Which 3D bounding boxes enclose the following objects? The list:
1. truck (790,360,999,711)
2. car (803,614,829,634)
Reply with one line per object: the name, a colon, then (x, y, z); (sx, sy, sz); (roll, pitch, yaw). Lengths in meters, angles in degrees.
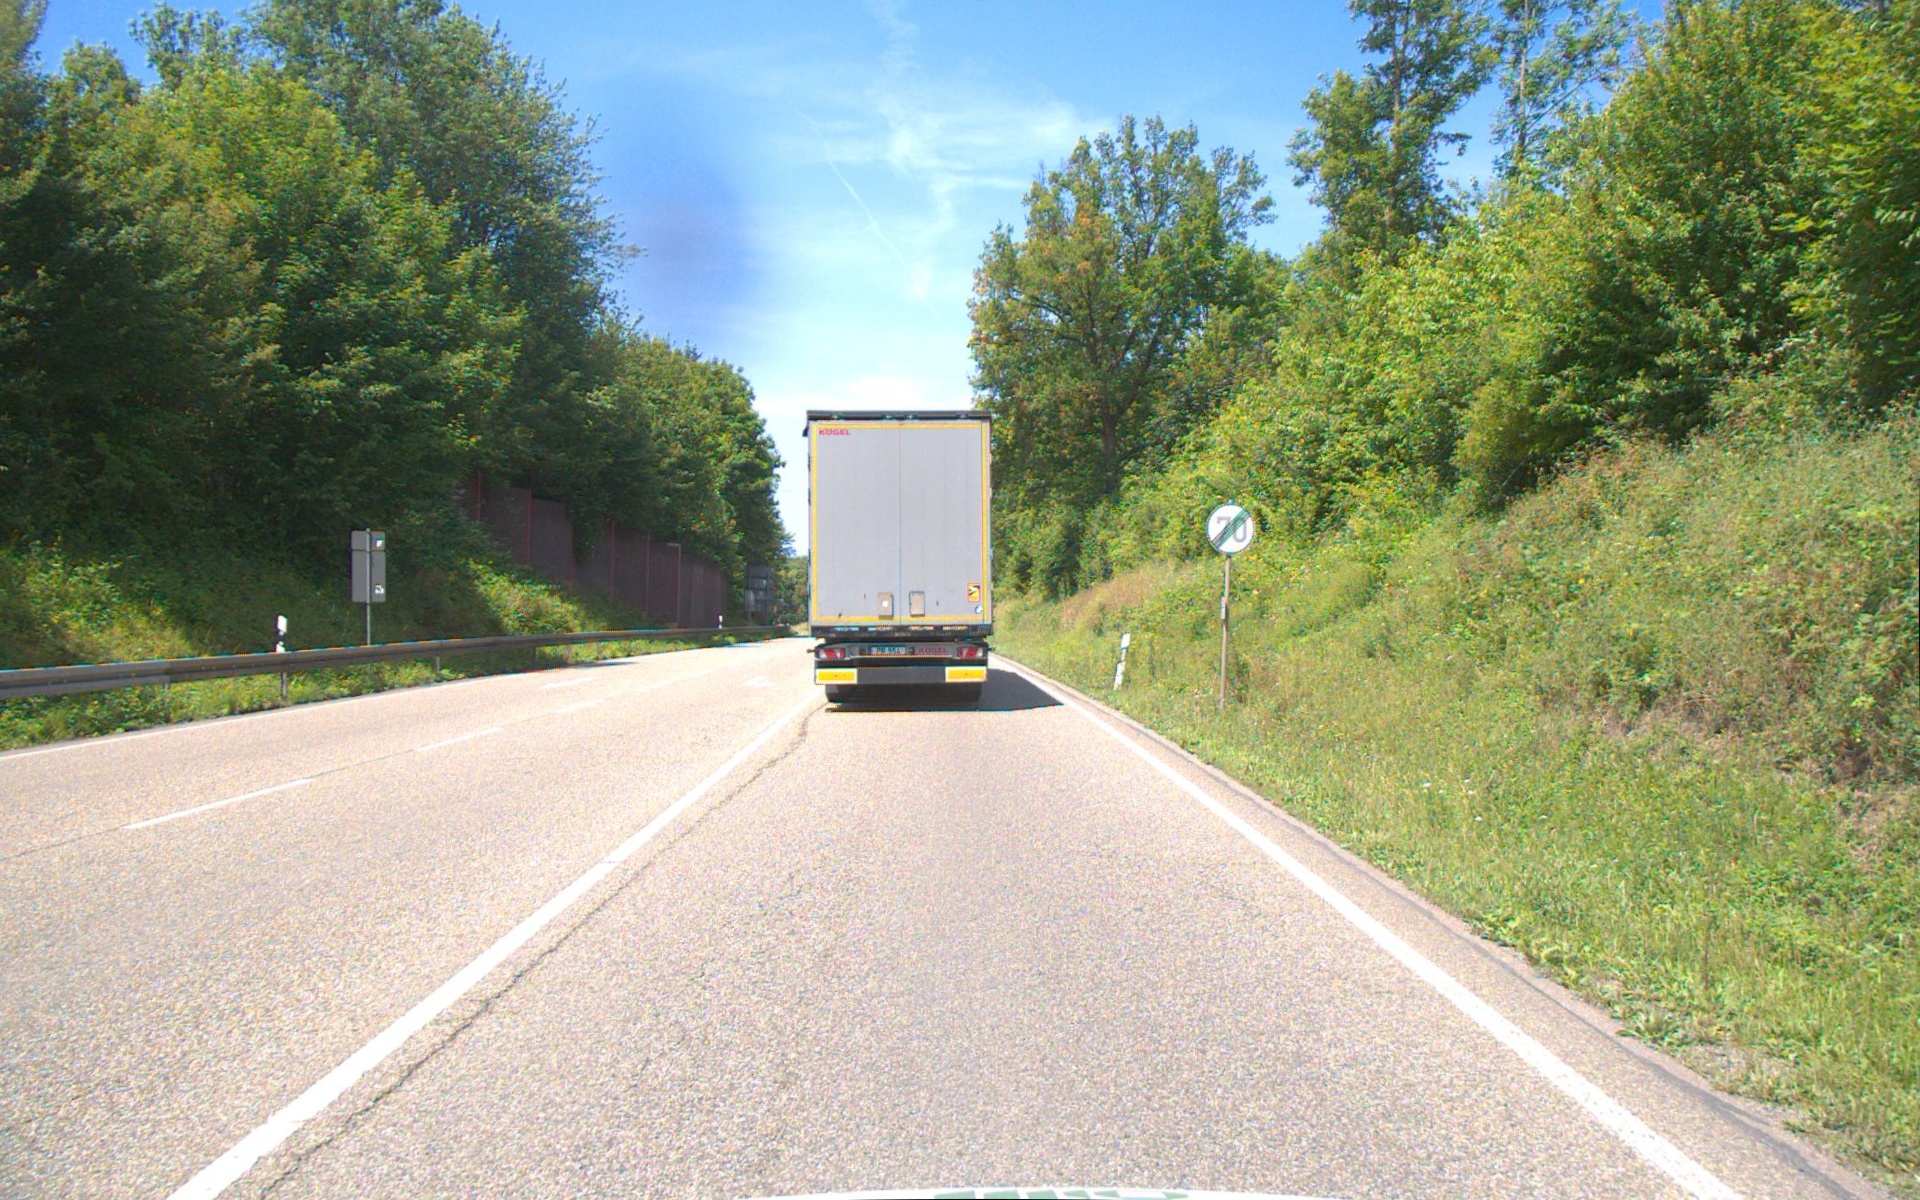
truck: (-0.947, -0.899, 25.538); (2.765, 4.684, 6.664); (0, 0, -1)
car: (-11.106, 1.838, 127.802); (1.772, 1.460, 3.864); (-1, 0, -8)
